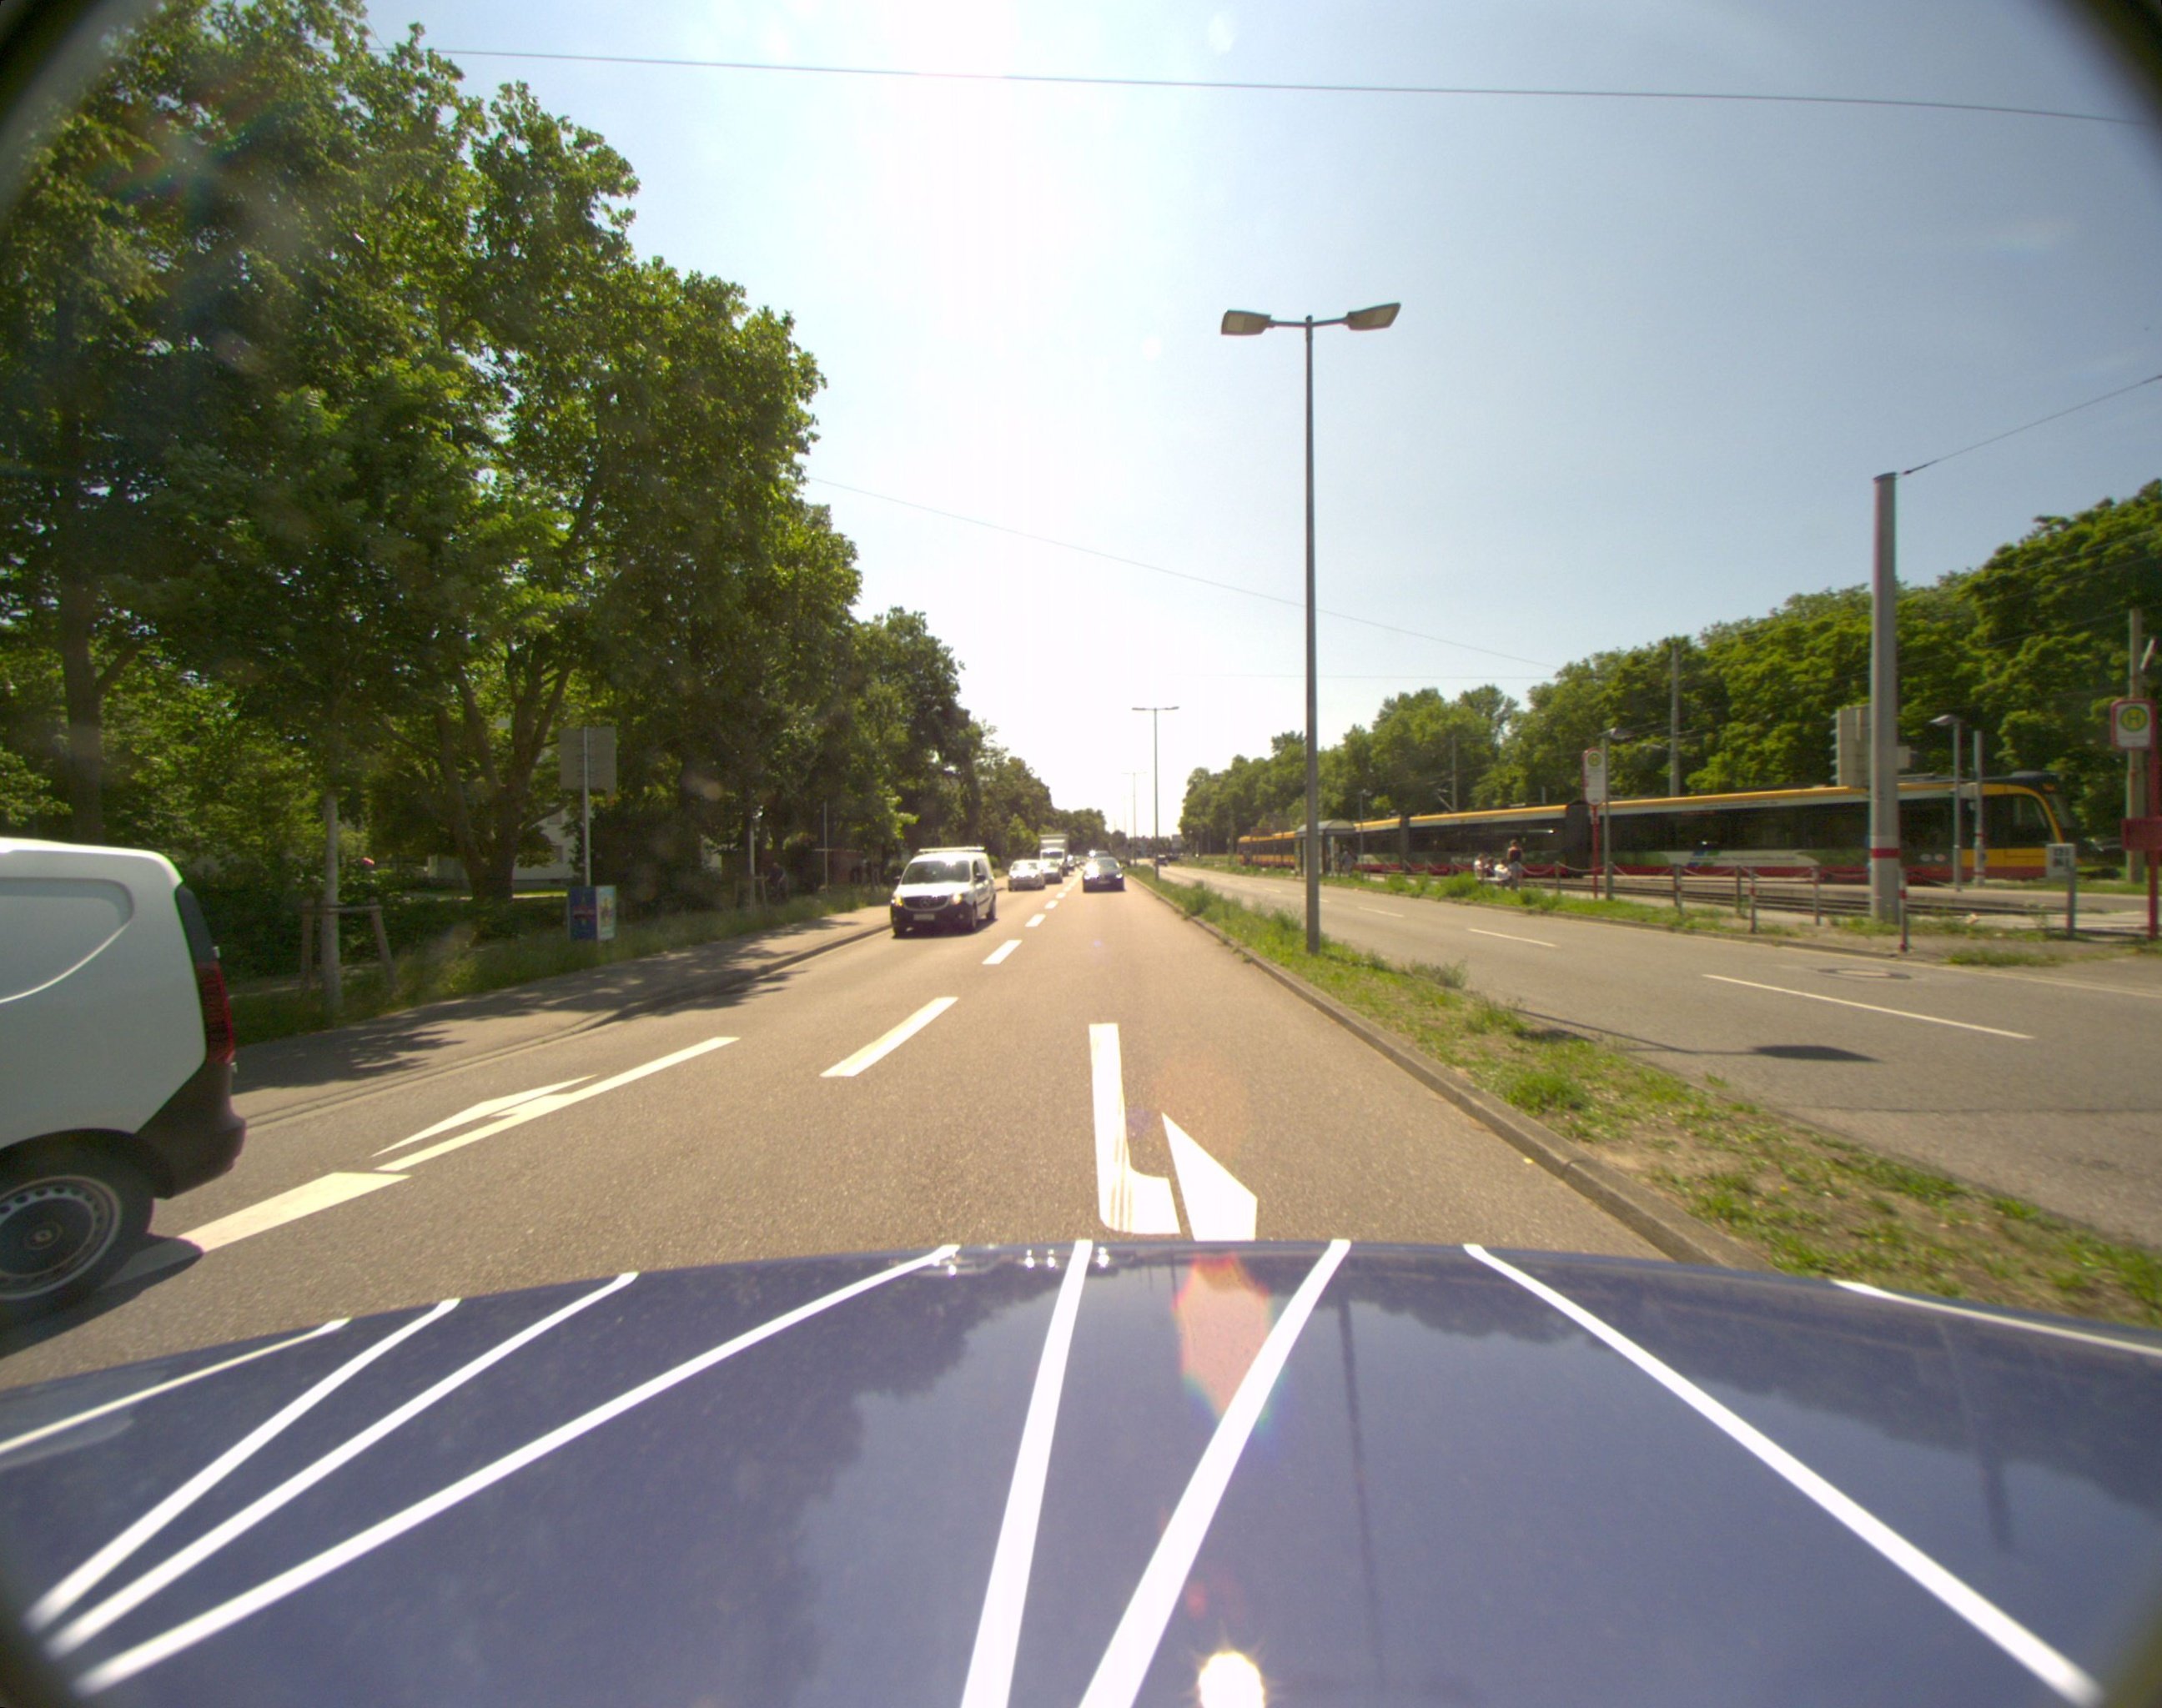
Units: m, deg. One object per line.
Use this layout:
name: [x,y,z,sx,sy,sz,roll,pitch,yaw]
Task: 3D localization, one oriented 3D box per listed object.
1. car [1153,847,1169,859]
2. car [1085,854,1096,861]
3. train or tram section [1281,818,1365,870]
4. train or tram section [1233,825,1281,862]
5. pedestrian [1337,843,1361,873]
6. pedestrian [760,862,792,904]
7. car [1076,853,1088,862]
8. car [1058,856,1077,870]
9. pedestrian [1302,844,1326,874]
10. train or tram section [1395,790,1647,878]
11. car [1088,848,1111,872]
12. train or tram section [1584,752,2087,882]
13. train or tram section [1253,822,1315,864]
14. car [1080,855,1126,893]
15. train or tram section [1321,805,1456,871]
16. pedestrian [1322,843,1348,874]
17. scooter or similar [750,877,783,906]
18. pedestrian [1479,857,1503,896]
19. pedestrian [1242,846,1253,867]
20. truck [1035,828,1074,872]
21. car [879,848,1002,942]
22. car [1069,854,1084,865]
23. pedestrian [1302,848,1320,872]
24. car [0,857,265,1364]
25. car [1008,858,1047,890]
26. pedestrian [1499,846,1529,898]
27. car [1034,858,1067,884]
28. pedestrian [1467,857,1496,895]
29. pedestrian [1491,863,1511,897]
car: [10.828,-0.146,103.283,1.774,1.496,3.719,-2,0,0]
car: [1.939,0.764,155.639,1.745,1.382,3.888,-2,1,5]
train or tram section: [19.975,-0.780,63.981,3.051,3.745,13.262,-3,0,2]
train or tram section: [20.393,-1.191,88.988,2.957,3.833,11.540,-3,0,1]
pedestrian: [13.699,0.200,38.836,0.836,1.499,0.879,-3,1,-1]
pedestrian: [-10.387,0.978,25.885,0.710,1.390,0.763,-3,1,2]
car: [0.179,0.562,120.679,1.746,1.382,3.887,-2,1,2]
car: [-1.453,0.939,80.989,1.746,1.382,3.887,-2,1,2]
pedestrian: [12.585,0.251,41.070,0.876,1.537,1.026,-3,1,-1]
train or tram section: [21.228,-0.823,38.254,3.055,3.603,12.437,-3,0,-14]
car: [1.523,0.464,62.474,1.746,1.840,3.887,-2,1,2]
train or tram section: [25.464,-0.994,27.267,3.057,3.603,12.426,-3,0,-26]
train or tram section: [20.269,-1.061,76.871,3.051,3.719,12.595,-3,0,1]
car: [0.951,0.817,32.485,1.746,1.382,3.887,-3,1,2]
train or tram section: [19.793,-0.949,50.385,3.051,3.603,13.895,-3,0,-1]
pedestrian: [13.299,0.218,39.798,0.933,1.537,0.985,-3,1,-1]
scooter or similar: [-10.399,1.233,25.134,0.710,0.888,0.763,-3,1,2]
pedestrian: [12.994,0.714,24.083,0.495,1.182,0.400,-3,1,0]
pedestrian: [14.113,0.224,64.404,0.633,1.781,0.776,-3,1,0]
truck: [-2.051,-0.331,61.370,2.489,3.277,6.605,-2,0,3]
car: [-3.129,0.825,18.097,1.809,1.845,5.082,-3,0,1]
car: [-0.572,0.706,100.925,1.618,1.373,4.115,-3,0,3]
pedestrian: [12.729,0.338,42.060,0.703,1.276,0.840,-3,1,-1]
car: [-4.893,0.951,1.313,1.712,1.737,4.430,-3,0,11]
car: [-2.635,0.971,38.063,1.626,1.433,3.498,-3,0,0]
pedestrian: [13.192,0.547,23.145,0.536,1.556,0.582,-3,1,0]
car: [-1.797,0.987,45.912,1.618,1.373,4.115,-3,0,3]
pedestrian: [12.926,0.710,24.537,0.582,1.182,0.536,-3,1,-2]
pedestrian: [13.074,0.806,23.663,0.383,1.052,0.377,-3,1,0]
